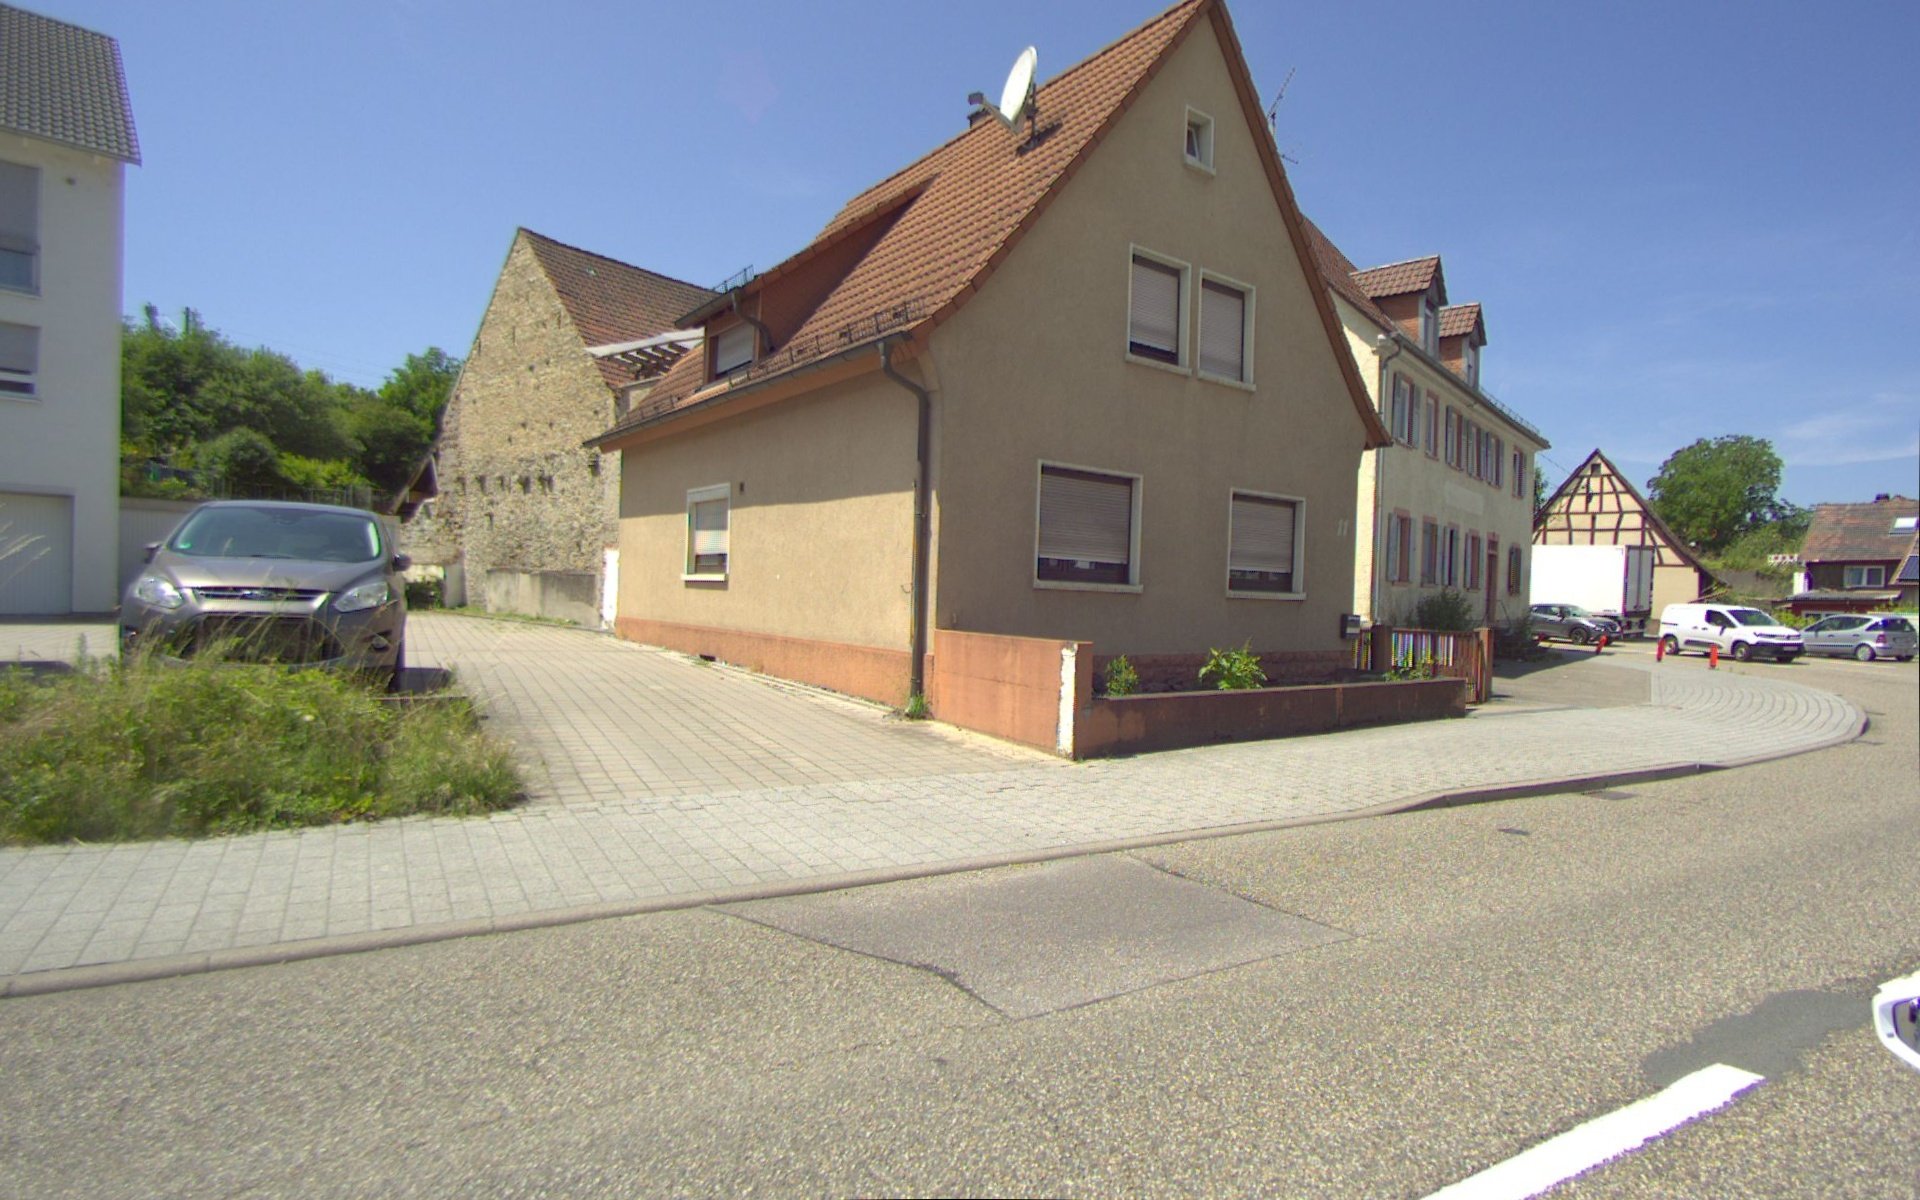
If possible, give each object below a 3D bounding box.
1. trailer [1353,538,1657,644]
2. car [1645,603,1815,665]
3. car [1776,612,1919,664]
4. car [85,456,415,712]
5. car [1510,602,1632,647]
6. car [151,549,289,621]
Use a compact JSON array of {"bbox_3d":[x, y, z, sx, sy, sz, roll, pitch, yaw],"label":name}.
[{"bbox_3d":[25.051,-0.558,47.344,3.112,4.334,12.368,2,1,-35],"label":"trailer"},{"bbox_3d":[26.086,1.085,34.250,1.845,1.809,4.513,1,1,-9],"label":"car"},{"bbox_3d":[30.629,1.270,34.619,1.755,1.606,3.600,2,0,-9],"label":"car"},{"bbox_3d":[-5.840,-0.096,8.778,1.843,1.660,4.106,2,0,-29],"label":"car"},{"bbox_3d":[24.868,0.960,41.043,1.771,1.544,3.981,2,2,-20],"label":"car"},{"bbox_3d":[-15.420,-0.341,20.852,1.850,1.298,3.948,2,1,-43],"label":"car"}]
